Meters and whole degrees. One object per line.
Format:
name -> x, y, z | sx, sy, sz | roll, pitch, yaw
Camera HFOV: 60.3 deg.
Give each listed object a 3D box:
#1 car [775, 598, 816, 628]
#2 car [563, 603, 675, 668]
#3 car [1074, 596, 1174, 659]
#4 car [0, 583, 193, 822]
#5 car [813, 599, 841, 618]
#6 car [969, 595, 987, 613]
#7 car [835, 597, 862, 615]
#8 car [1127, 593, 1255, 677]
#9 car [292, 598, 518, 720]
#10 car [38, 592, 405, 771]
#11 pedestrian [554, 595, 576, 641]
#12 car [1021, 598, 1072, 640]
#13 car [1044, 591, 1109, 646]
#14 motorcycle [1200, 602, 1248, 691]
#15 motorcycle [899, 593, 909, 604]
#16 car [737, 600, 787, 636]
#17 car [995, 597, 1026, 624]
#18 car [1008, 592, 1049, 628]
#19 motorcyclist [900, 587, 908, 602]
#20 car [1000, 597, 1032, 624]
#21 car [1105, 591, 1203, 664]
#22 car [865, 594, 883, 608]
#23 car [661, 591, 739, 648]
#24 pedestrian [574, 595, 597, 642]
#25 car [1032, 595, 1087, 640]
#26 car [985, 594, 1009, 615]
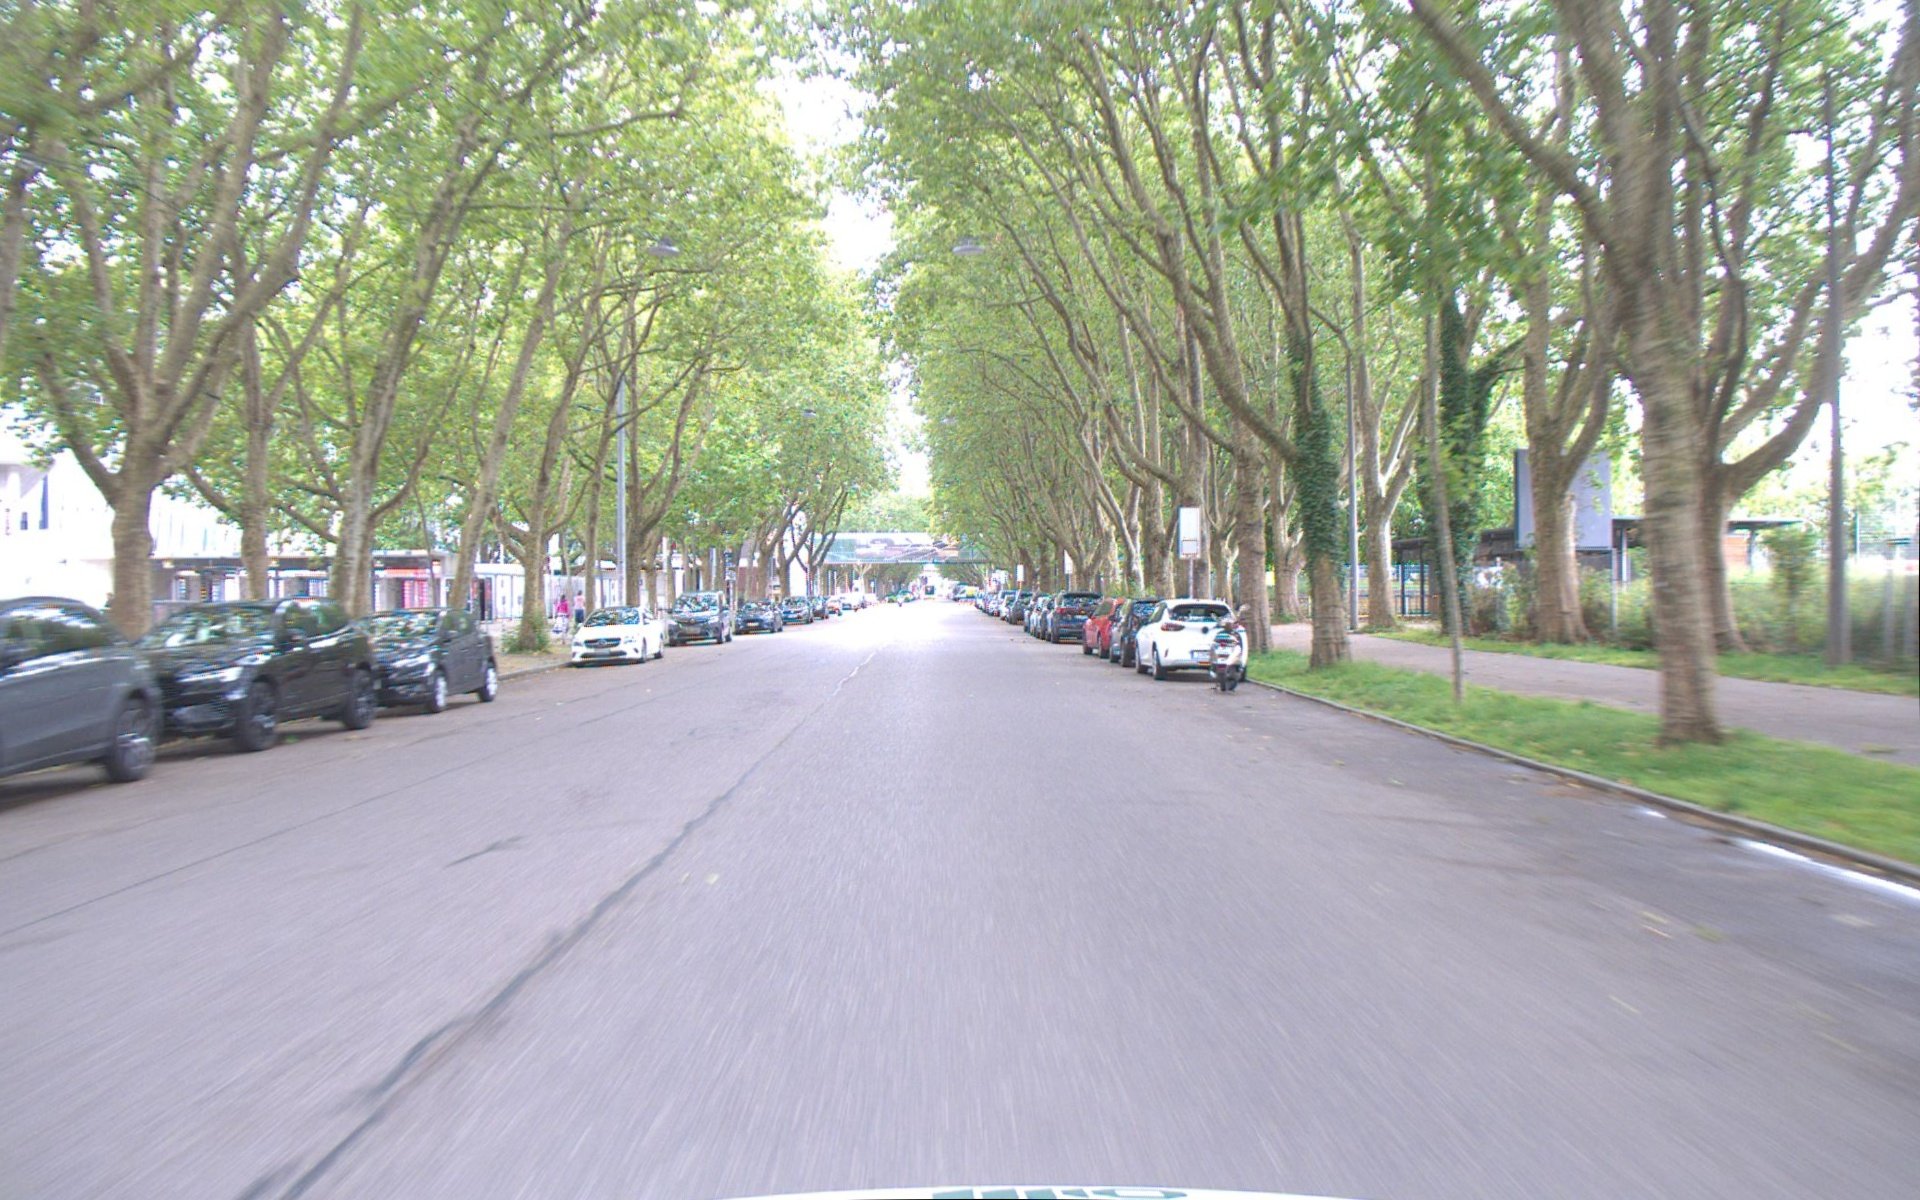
car -> -9.050, 0.709, 91.479 | 1.840, 1.553, 4.150 | -2, 0, 0
car -> -8.668, 0.861, 42.410 | 1.865, 1.427, 4.750 | -4, 0, -1
car -> 4.080, 0.645, 41.814 | 1.682, 1.464, 4.624 | 1, 0, -5
car -> -8.031, 0.804, 13.173 | 1.833, 1.747, 4.644 | -4, 0, -4
car -> -9.638, 0.597, 120.009 | 1.771, 1.378, 4.000 | -1, 0, 0
car -> 1.932, 0.444, 178.726 | 1.809, 1.814, 5.210 | 1, 0, -1
car -> -9.818, 0.523, 145.654 | 2.031, 1.590, 4.755 | -1, 0, 0
car -> 4.302, 0.607, 31.328 | 1.700, 1.463, 4.121 | -1, 0, -2
car -> -8.117, 0.793, 24.653 | 1.796, 1.520, 4.442 | -4, 0, 0
car -> -8.252, 0.809, 19.095 | 1.898, 1.671, 4.928 | -4, 0, 0
pedestrian -> -15.322, 0.704, 64.153 | 0.562, 1.772, 0.768 | -1, 0, 14
car -> 3.588, 0.768, 69.231 | 1.741, 1.702, 4.636 | 0, 0, -2
car -> 3.697, 0.566, 53.154 | 1.720, 1.648, 4.438 | 1, 0, 0
motorcycle -> 4.179, 0.715, 26.264 | 0.697, 1.355, 1.994 | 0, 0, 7
motorcycle -> -5.700, -0.179, 168.568 | 0.856, 1.098, 3.050 | 0, 0, -4
car -> -8.804, 0.769, 73.903 | 1.689, 1.512, 4.574 | -1, 0, -1
car -> 3.303, 0.671, 109.371 | 1.864, 1.769, 4.505 | 0, 0, -1
car -> 3.399, 0.483, 82.654 | 1.673, 1.728, 4.629 | 1, 0, -2
motorcyclist -> -5.714, -0.521, 168.658 | 0.853, 1.506, 1.264 | 0, 0, -4
car -> 3.230, 0.597, 95.626 | 1.672, 1.452, 3.888 | 1, 0, -1
car -> 4.280, 0.577, 37.011 | 1.694, 1.496, 4.080 | 2, 0, 0
car -> -10.244, 0.096, 197.703 | 1.955, 1.629, 3.995 | 0, 1, -6
car -> -8.729, 0.640, 55.848 | 1.909, 1.781, 4.637 | -2, 0, -1
pedestrian -> -14.537, 0.726, 64.264 | 0.564, 1.801, 0.768 | -1, 0, 14
car -> 3.538, 0.601, 59.221 | 1.634, 1.535, 4.353 | 1, 0, 0
car -> 2.955, 0.328, 132.419 | 1.766, 1.583, 3.999 | -1, 0, -1
